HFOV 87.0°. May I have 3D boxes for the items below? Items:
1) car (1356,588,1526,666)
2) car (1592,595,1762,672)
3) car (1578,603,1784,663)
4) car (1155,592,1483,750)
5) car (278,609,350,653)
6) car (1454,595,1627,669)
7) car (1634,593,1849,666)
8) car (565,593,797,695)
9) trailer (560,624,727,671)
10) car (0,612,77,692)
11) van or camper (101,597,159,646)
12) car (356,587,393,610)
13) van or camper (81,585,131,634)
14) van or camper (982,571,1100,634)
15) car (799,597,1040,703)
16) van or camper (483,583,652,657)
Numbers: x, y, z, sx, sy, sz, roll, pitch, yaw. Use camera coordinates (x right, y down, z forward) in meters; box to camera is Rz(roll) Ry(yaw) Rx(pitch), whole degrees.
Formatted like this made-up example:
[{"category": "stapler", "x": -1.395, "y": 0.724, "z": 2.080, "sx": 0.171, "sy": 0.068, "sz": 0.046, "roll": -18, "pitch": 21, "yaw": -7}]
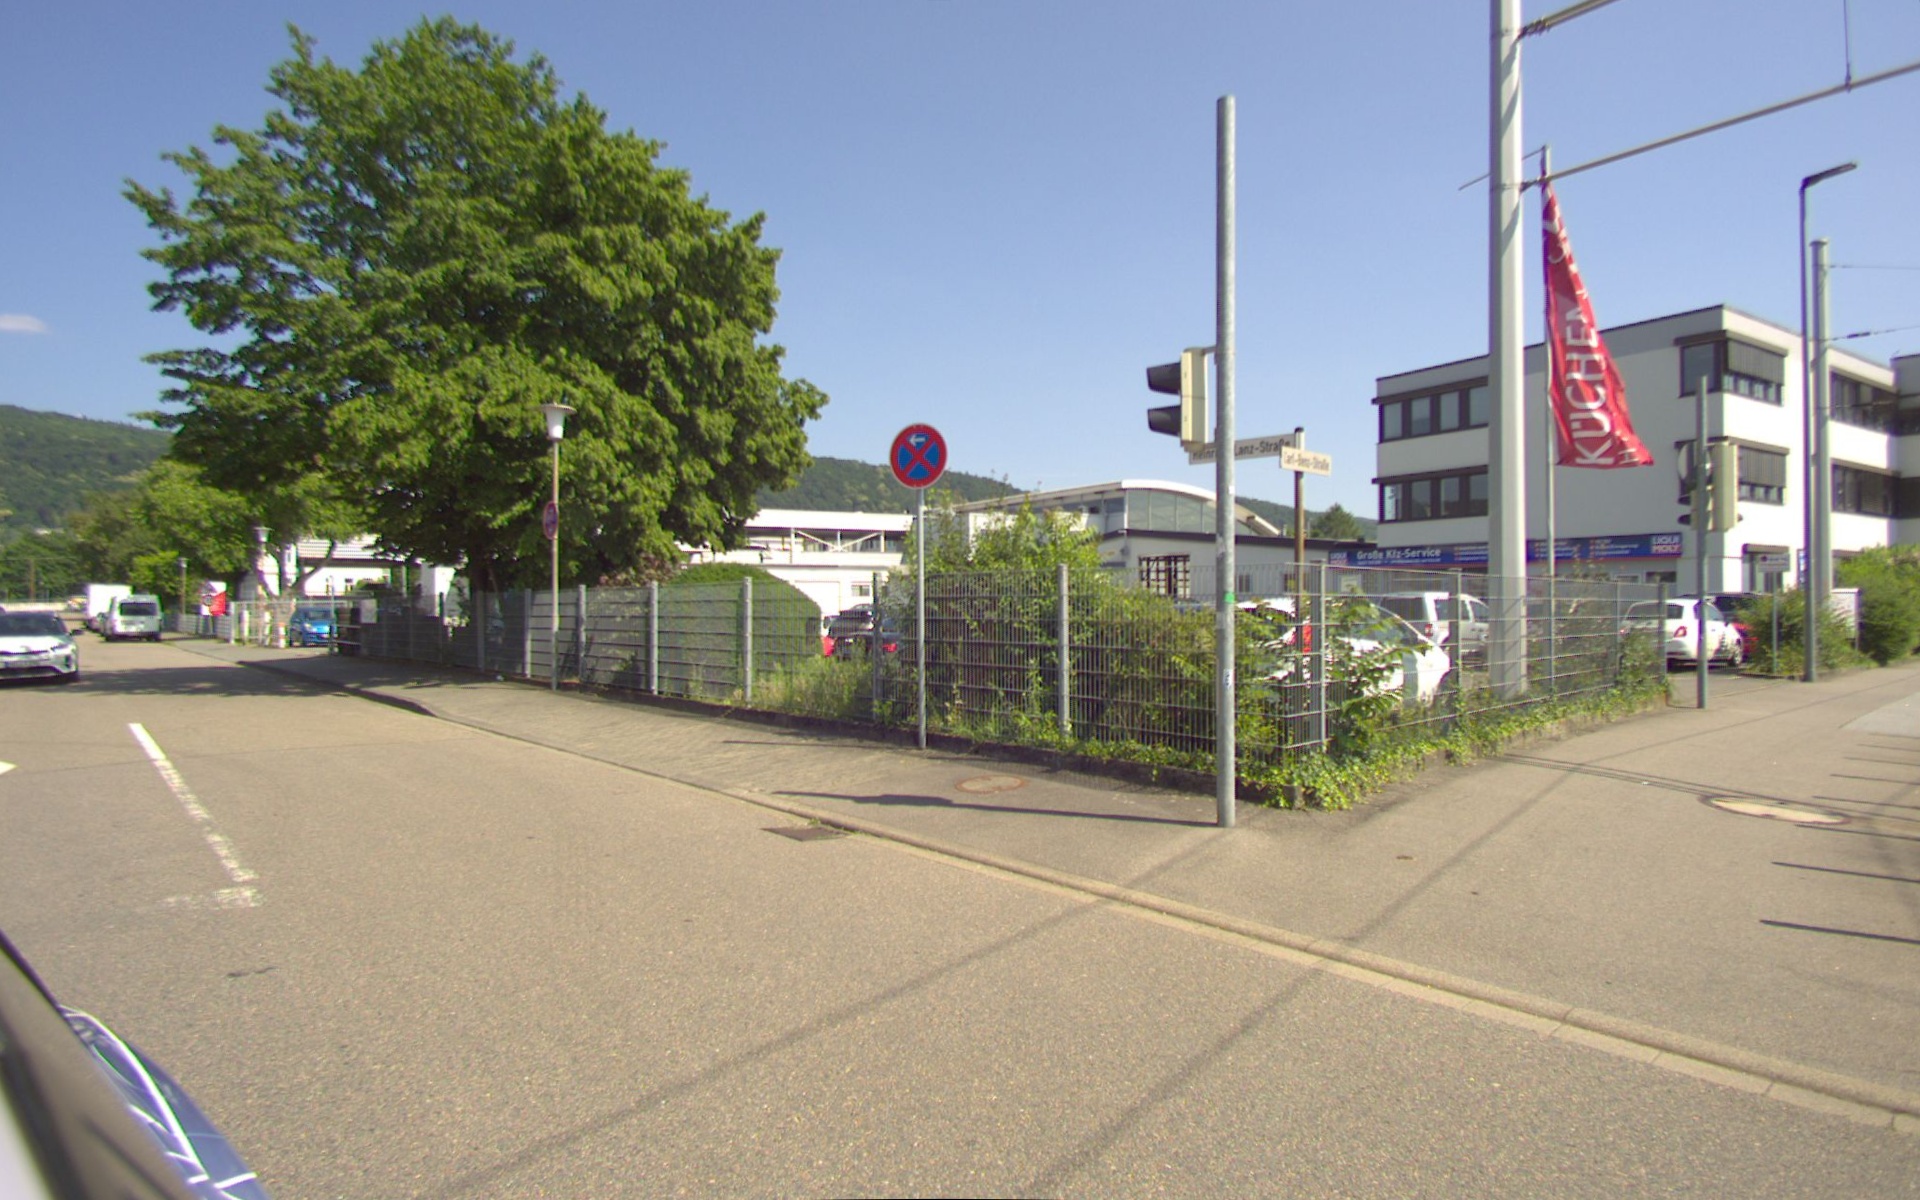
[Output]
[{"category": "car", "x": 12.037, "y": 0.648, "z": 25.299, "sx": 3.932, "sy": 1.798, "sz": 2.006, "roll": 0, "pitch": -1, "yaw": -32}, {"category": "car", "x": 15.602, "y": 0.685, "z": 21.990, "sx": 3.771, "sy": 1.553, "sz": 1.746, "roll": 0, "pitch": -1, "yaw": -33}, {"category": "car", "x": 17.827, "y": 0.766, "z": 25.171, "sx": 1.719, "sy": 1.381, "sz": 3.845, "roll": 0, "pitch": -1, "yaw": -36}, {"category": "car", "x": 4.082, "y": 0.678, "z": 11.229, "sx": 3.893, "sy": 1.444, "sz": 1.716, "roll": 1, "pitch": 0, "yaw": -41}, {"category": "car", "x": -24.310, "y": 1.127, "z": 38.033, "sx": 1.621, "sy": 1.469, "sz": 3.528, "roll": -3, "pitch": 2, "yaw": -43}, {"category": "car", "x": 13.463, "y": 0.697, "z": 23.437, "sx": 3.868, "sy": 1.580, "sz": 1.862, "roll": 0, "pitch": -1, "yaw": -32}, {"category": "car", "x": 20.026, "y": 0.719, "z": 26.075, "sx": 1.968, "sy": 1.719, "sz": 4.008, "roll": 0, "pitch": -1, "yaw": -37}, {"category": "car", "x": -4.498, "y": 0.656, "z": 16.519, "sx": 3.336, "sy": 1.496, "sz": 1.520, "roll": 0, "pitch": -1, "yaw": -41}, {"category": "trailer", "x": -7.098, "y": 1.030, "z": 22.808, "sx": 3.241, "sy": 0.946, "sz": 1.615, "roll": 0, "pitch": -1, "yaw": -41}, {"category": "car", "x": -19.836, "y": 1.023, "z": 21.381, "sx": 1.711, "sy": 1.541, "sz": 4.114, "roll": 1, "pitch": -1, "yaw": -42}, {"category": "van or camper", "x": -42.276, "y": 1.079, "z": 51.511, "sx": 1.999, "sy": 2.395, "sz": 4.691, "roll": 2, "pitch": -1, "yaw": -43}, {"category": "car", "x": -39.073, "y": -0.063, "z": 67.630, "sx": 1.680, "sy": 1.469, "sz": 3.537, "roll": 0, "pitch": -1, "yaw": -22}, {"category": "van or camper", "x": -62.529, "y": 0.707, "z": 74.058, "sx": 2.489, "sy": 3.395, "sz": 5.597, "roll": 1, "pitch": -1, "yaw": -43}, {"category": "van or camper", "x": 3.182, "y": 0.102, "z": 39.246, "sx": 4.526, "sy": 2.323, "sz": 1.786, "roll": 0, "pitch": 0, "yaw": -36}, {"category": "car", "x": -0.591, "y": 0.750, "z": 16.797, "sx": 1.858, "sy": 1.553, "sz": 3.780, "roll": -1, "pitch": -1, "yaw": 44}, {"category": "van or camper", "x": -11.210, "y": 0.505, "z": 29.072, "sx": 4.131, "sy": 1.877, "sz": 1.777, "roll": -3, "pitch": 2, "yaw": -41}]
